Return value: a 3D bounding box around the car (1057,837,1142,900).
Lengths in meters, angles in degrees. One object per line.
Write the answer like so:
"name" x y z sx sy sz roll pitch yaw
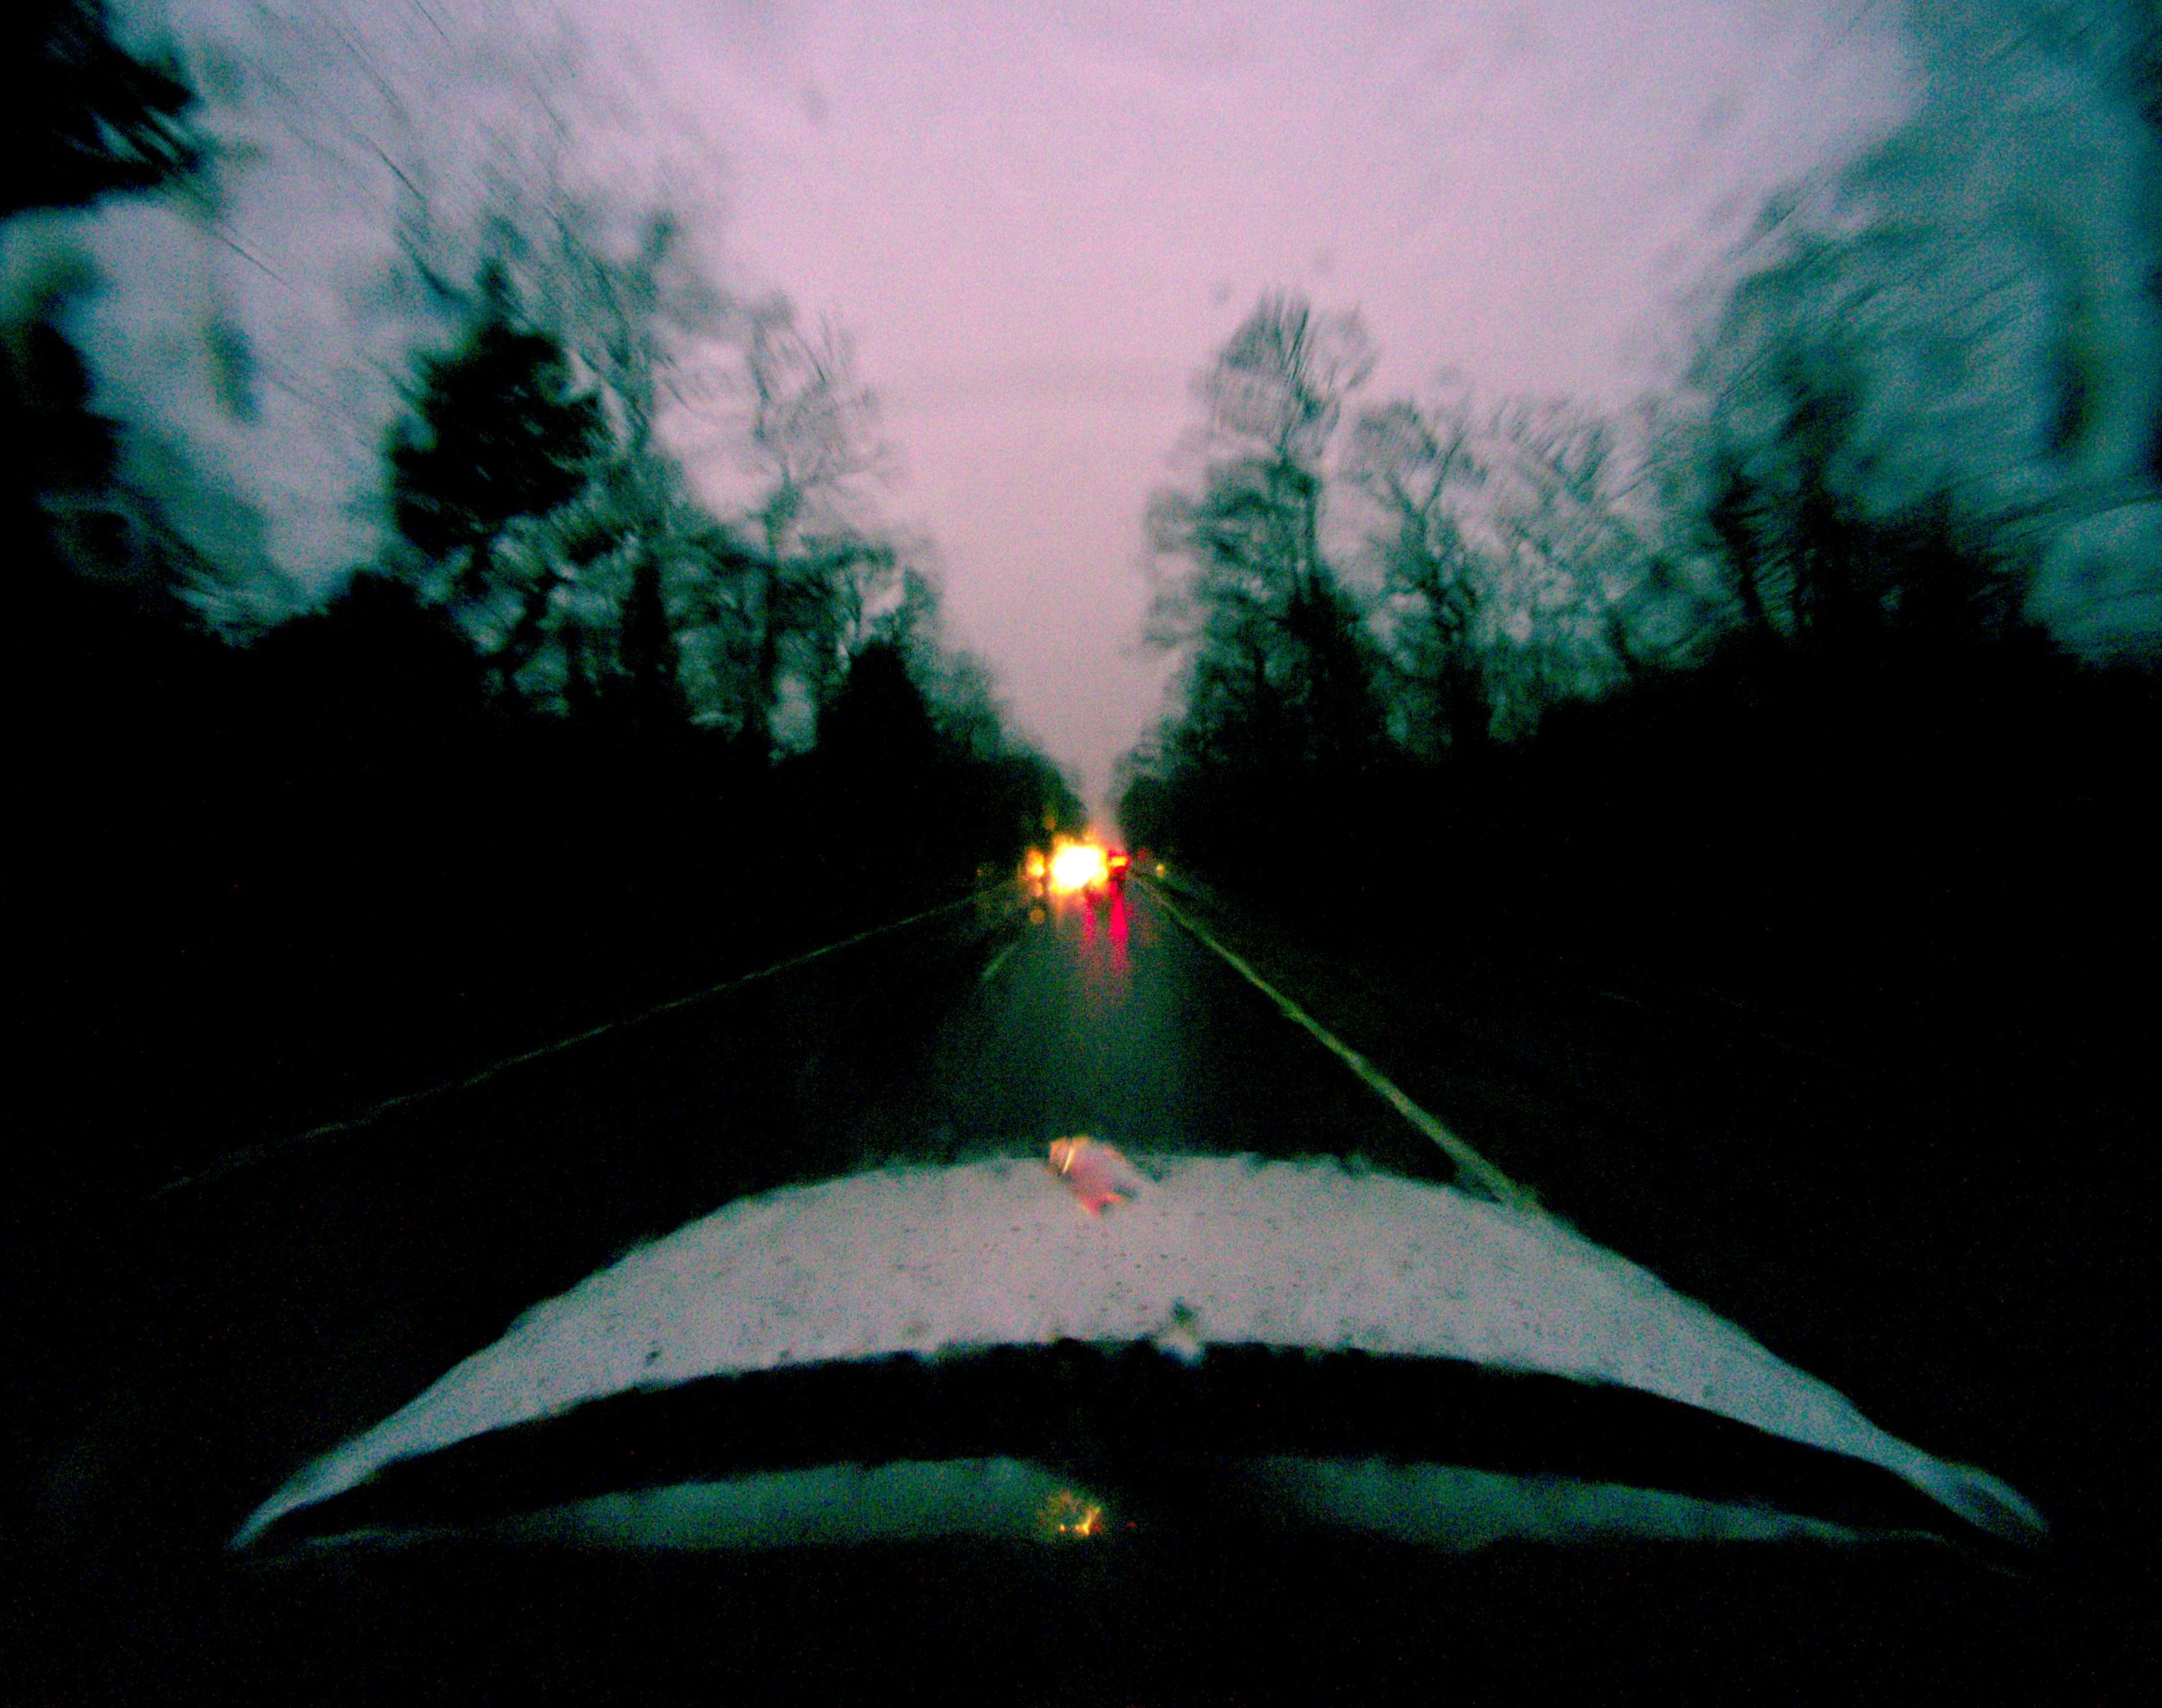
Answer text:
"car" 0.845 0.548 34.076 3.171 2.386 6.640 0 0 2

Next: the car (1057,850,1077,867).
"car" -1.438 0.437 83.152 1.793 1.600 3.863 -3 0 1
